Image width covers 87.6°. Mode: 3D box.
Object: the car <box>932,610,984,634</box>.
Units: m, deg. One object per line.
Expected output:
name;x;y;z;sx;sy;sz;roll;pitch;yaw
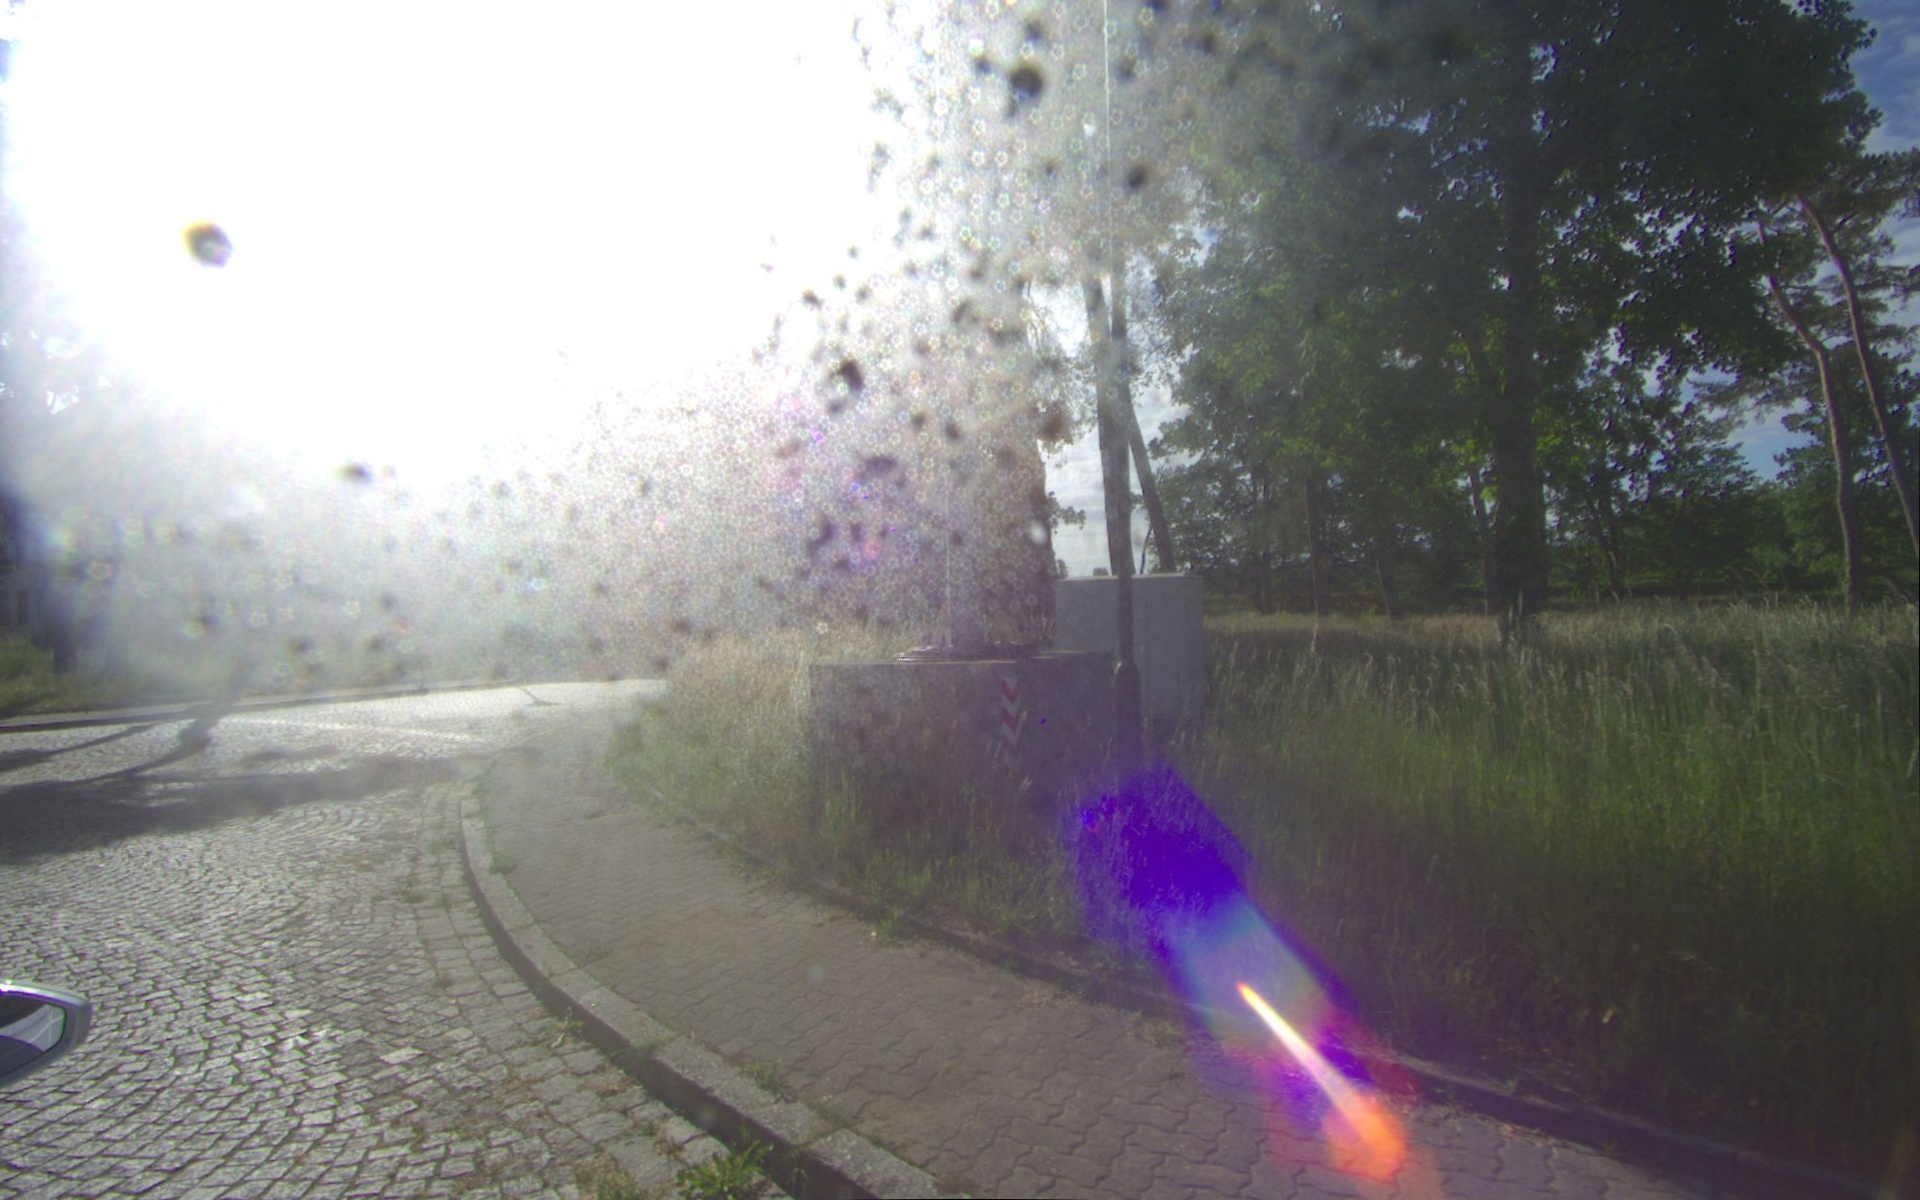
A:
car;-0.103;1.393;64.249;1.817;1.483;3.986;-1;0;25
